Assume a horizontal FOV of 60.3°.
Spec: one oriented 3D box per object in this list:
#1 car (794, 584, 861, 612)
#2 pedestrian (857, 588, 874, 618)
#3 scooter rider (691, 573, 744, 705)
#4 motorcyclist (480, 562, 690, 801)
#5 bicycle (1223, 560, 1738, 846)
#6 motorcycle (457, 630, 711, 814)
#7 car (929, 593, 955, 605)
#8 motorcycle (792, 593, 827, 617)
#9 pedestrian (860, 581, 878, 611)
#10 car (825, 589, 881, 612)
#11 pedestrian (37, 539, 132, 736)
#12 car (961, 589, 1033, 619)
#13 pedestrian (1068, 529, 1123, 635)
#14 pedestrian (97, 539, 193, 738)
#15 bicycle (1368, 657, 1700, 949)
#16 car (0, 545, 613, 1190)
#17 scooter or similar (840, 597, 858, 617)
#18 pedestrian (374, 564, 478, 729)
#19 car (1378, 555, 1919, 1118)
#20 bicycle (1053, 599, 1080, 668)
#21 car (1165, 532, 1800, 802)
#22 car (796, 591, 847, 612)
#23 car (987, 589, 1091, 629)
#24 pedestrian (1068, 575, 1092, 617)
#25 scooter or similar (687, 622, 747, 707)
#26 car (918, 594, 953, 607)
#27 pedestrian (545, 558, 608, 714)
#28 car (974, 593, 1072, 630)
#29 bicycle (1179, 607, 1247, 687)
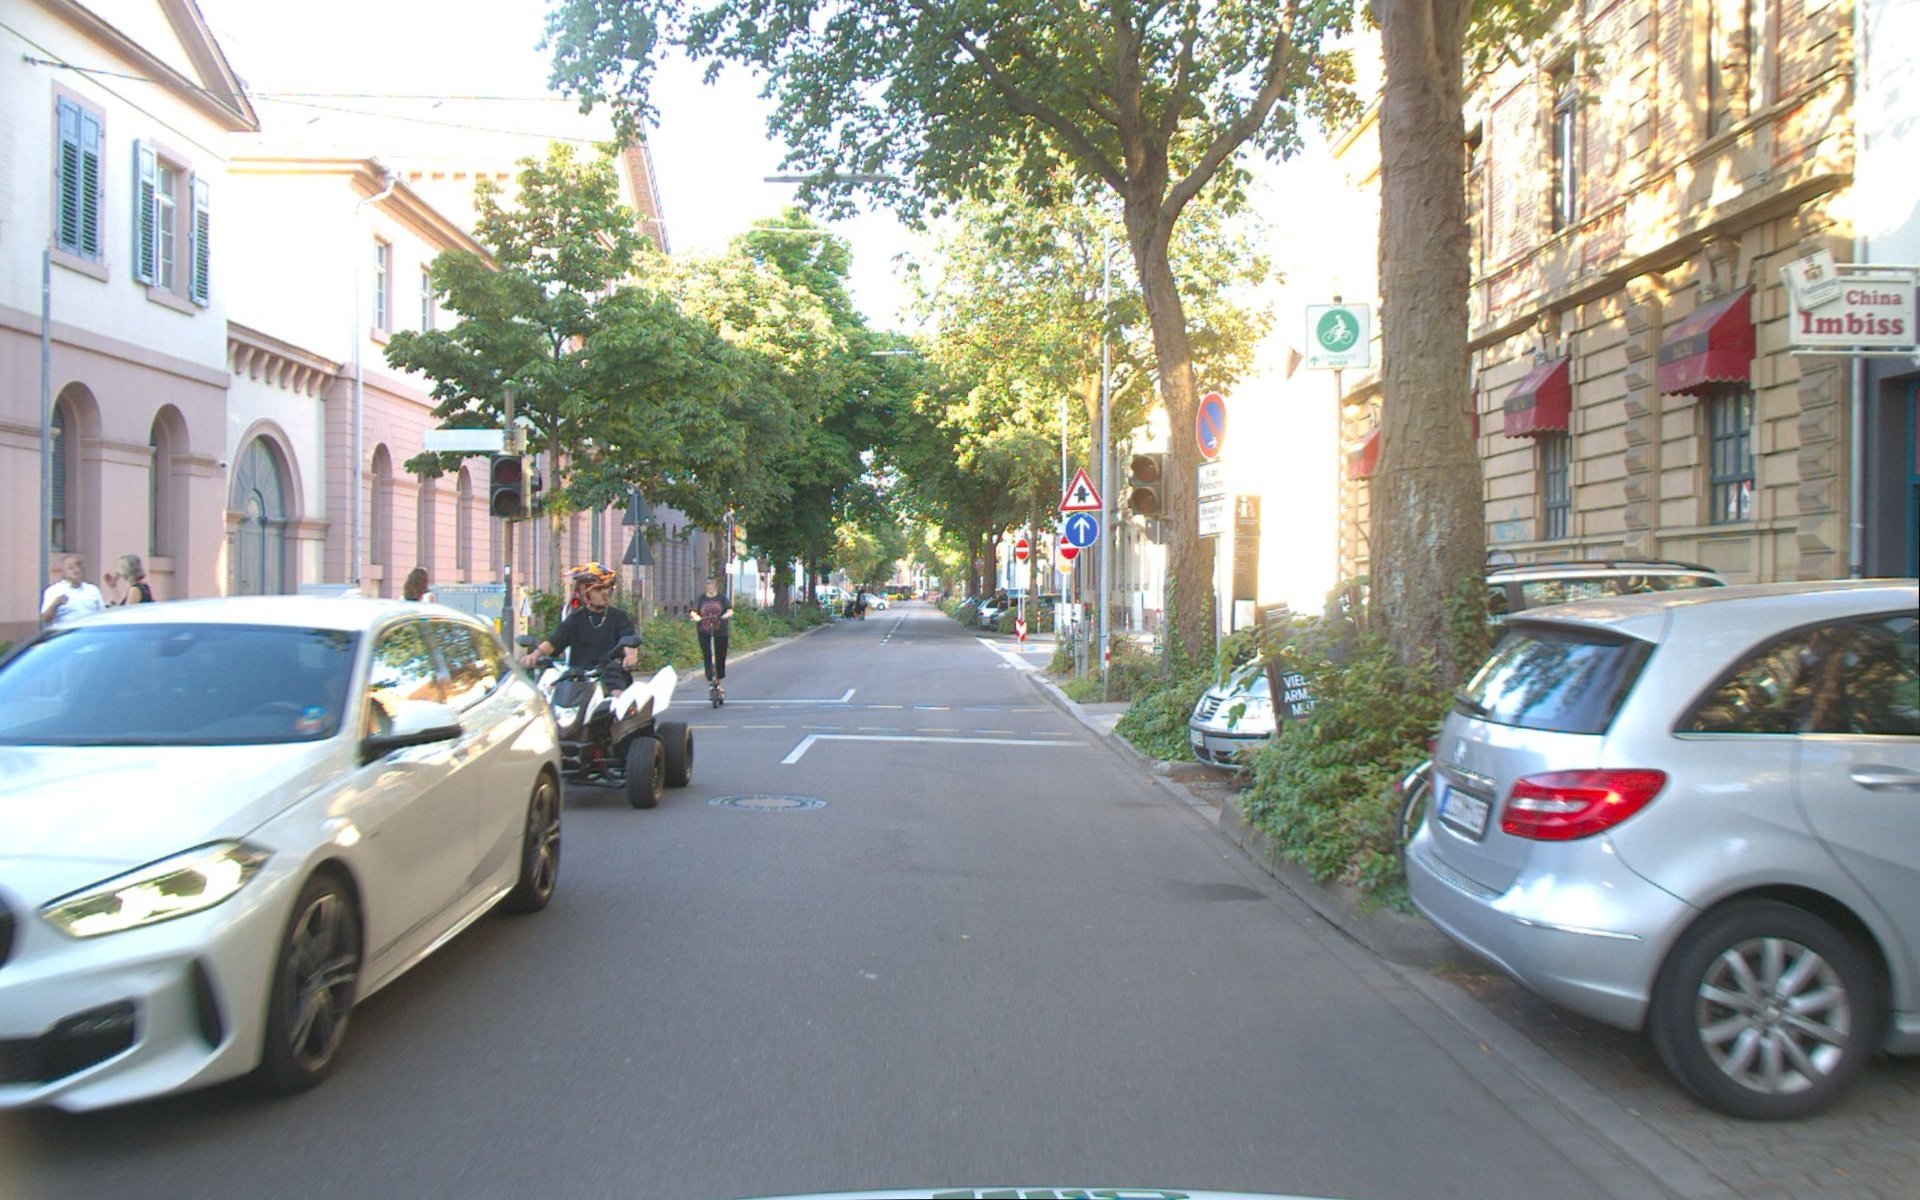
[{"bbox_3d":[-9.992,-0.147,125.366,4.962,2.119,2.262,0,0,-2],"label":"car"},{"bbox_3d":[-5.296,0.157,92.932,0.856,1.679,0.655,1,0,6],"label":"pedestrian"},{"bbox_3d":[-3.426,0.540,23.404,0.484,1.823,0.875,0,-1,9],"label":"scooter rider"},{"bbox_3d":[-2.634,0.553,11.776,1.254,1.619,1.077,0,0,-1],"label":"motorcyclist"},{"bbox_3d":[3.236,0.638,10.367,3.053,1.692,0.657,1,0,-6],"label":"bicycle"},{"bbox_3d":[-2.567,0.798,11.700,1.285,1.109,2.396,0,0,-1],"label":"motorcycle"},{"bbox_3d":[-2.819,-0.168,258.032,3.902,1.870,2.001,0,0,6],"label":"car"},{"bbox_3d":[-8.200,0.285,90.219,1.880,1.281,0.590,0,0,-2],"label":"motorcycle"},{"bbox_3d":[-5.153,-0.205,93.695,0.856,1.679,0.655,1,0,6],"label":"pedestrian"},{"bbox_3d":[-9.722,0.051,150.838,4.960,2.119,2.263,0,0,0],"label":"car"},{"bbox_3d":[-8.540,0.355,16.145,0.542,1.883,0.612,1,0,12],"label":"pedestrian"},{"bbox_3d":[2.053,0.221,92.618,3.934,1.651,1.780,0,0,-3],"label":"car"},{"bbox_3d":[2.893,-0.375,35.327,1.022,2.184,1.063,1,-1,-1],"label":"pedestrian"},{"bbox_3d":[-7.885,0.354,16.018,0.542,1.882,0.612,0,2,13],"label":"pedestrian"},{"bbox_3d":[2.554,0.886,7.422,1.310,1.225,0.488,-1,0,-2],"label":"bicycle"},{"bbox_3d":[-2.695,0.645,6.186,1.838,1.576,4.275,0,0,1],"label":"car"},{"bbox_3d":[-6.287,0.402,93.893,0.877,1.108,0.846,1,0,7],"label":"scooter or similar"},{"bbox_3d":[-6.145,0.517,19.053,0.774,1.822,0.771,3,1,15],"label":"pedestrian"},{"bbox_3d":[3.720,0.647,5.620,4.137,1.587,1.971,0,1,2],"label":"car"},{"bbox_3d":[2.221,0.687,34.359,0.407,1.396,1.289,0,0,10],"label":"bicycle"},{"bbox_3d":[4.029,0.478,13.242,4.450,1.948,1.949,-1,0,-4],"label":"car"},{"bbox_3d":[-10.030,0.115,119.970,3.653,1.534,1.871,0,0,-5],"label":"car"},{"bbox_3d":[3.161,0.358,66.801,4.025,1.516,1.849,1,1,-3],"label":"car"},{"bbox_3d":[5.020,-0.168,69.316,0.924,1.736,0.782,0,1,0],"label":"pedestrian"},{"bbox_3d":[-3.430,0.892,23.409,0.491,1.165,1.251,0,-1,9],"label":"scooter or similar"},{"bbox_3d":[-2.828,0.039,190.868,3.907,1.467,1.696,0,0,-3],"label":"car"},{"bbox_3d":[-4.843,0.443,20.905,0.755,1.921,0.790,0,0,-13],"label":"pedestrian"},{"bbox_3d":[2.709,0.483,71.797,4.108,1.506,1.852,-1,0,-2],"label":"car"},{"bbox_3d":[3.912,0.699,25.754,0.513,1.172,2.246,0,0,-5],"label":"bicycle"}]
